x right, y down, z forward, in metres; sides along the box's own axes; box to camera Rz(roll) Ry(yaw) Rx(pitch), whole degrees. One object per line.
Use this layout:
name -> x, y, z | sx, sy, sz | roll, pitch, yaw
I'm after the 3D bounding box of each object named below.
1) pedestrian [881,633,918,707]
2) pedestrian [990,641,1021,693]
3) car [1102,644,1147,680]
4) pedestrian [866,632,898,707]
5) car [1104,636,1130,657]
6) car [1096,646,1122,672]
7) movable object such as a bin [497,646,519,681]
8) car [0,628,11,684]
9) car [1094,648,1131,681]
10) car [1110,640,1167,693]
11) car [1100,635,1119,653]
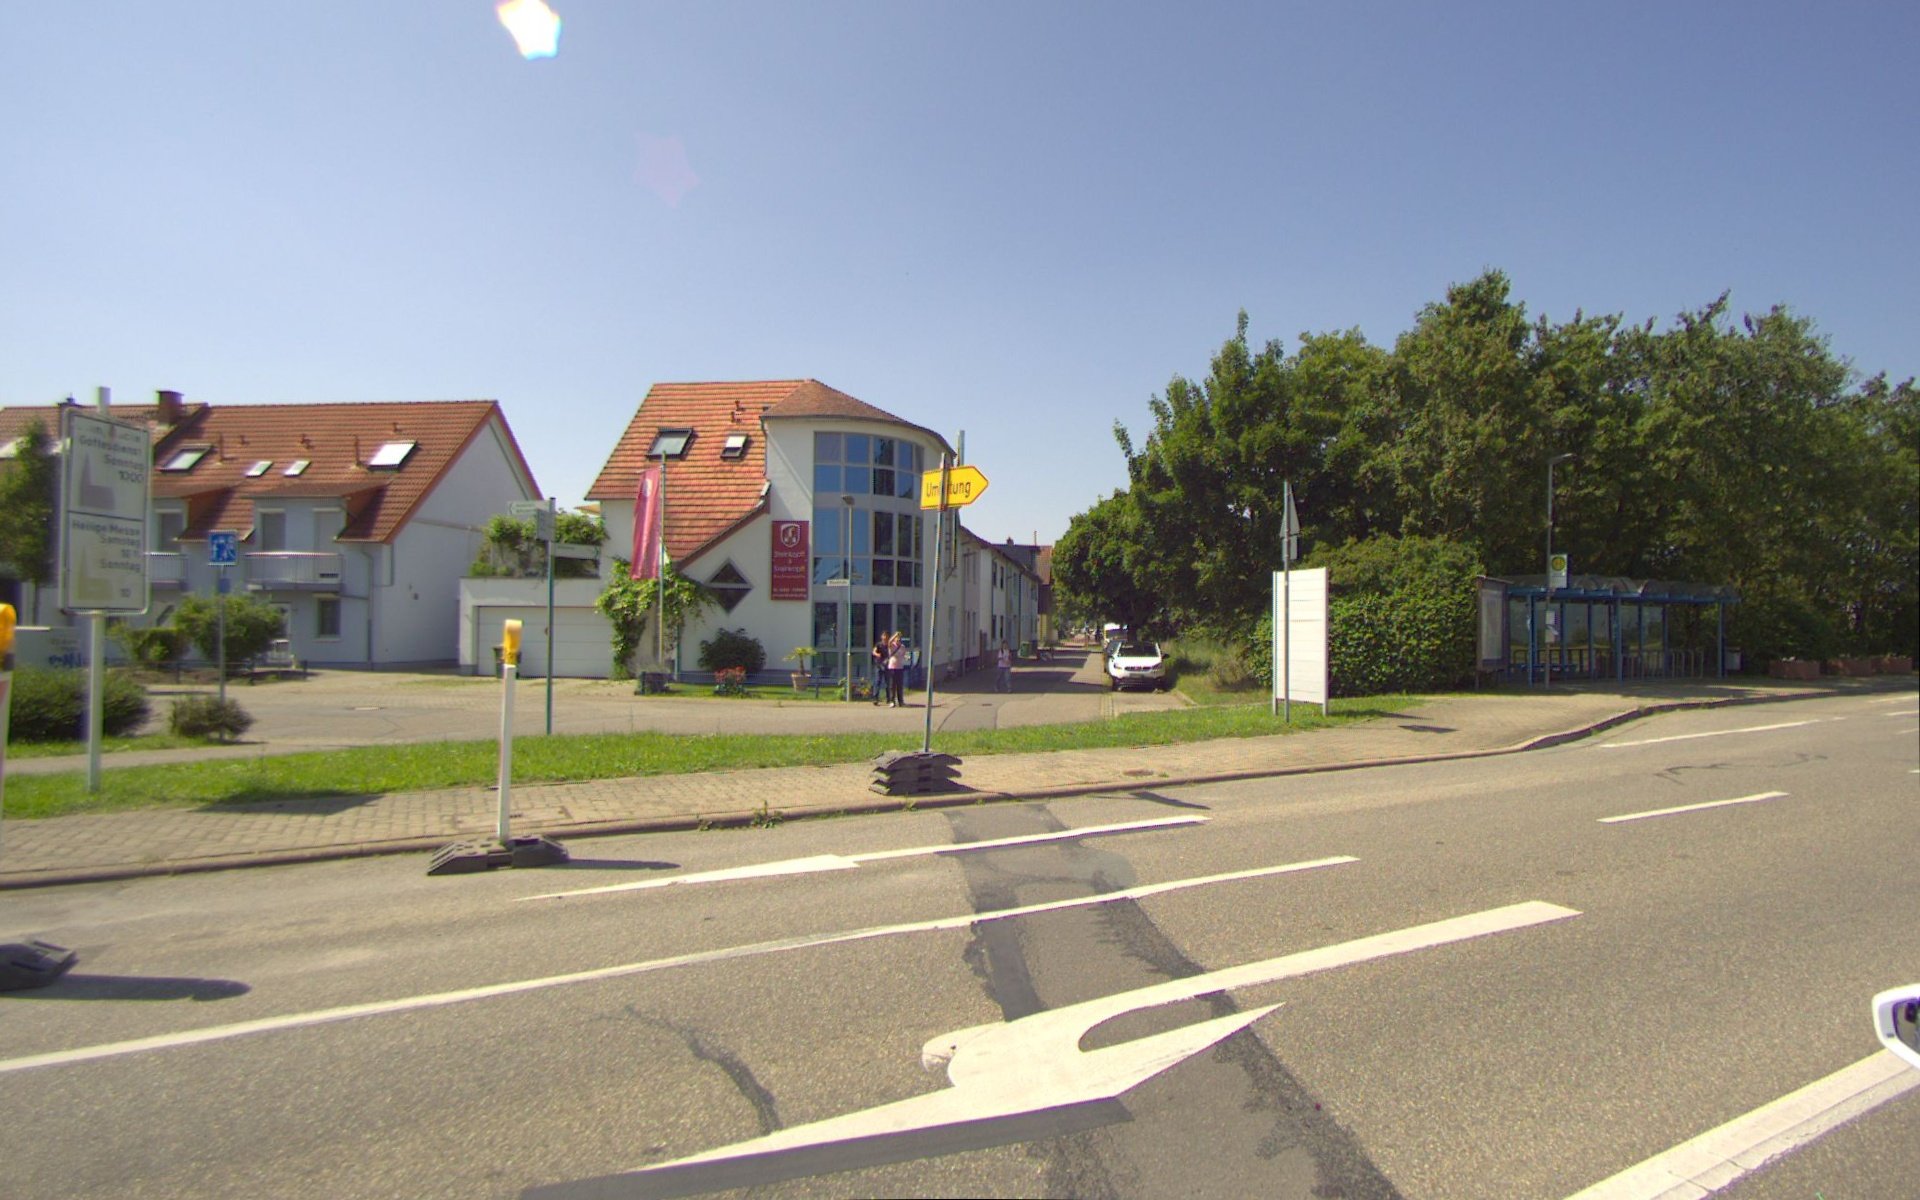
pedestrian -> -1.473, 1.699, 24.624 | 0.799, 1.763, 0.960 | 0, -1, 1
pedestrian -> 1.412, 2.076, 31.252 | 0.905, 1.587, 0.790 | 0, -1, -1
car -> 6.950, 2.566, 42.172 | 1.649, 1.366, 3.382 | 0, -1, 13
pedestrian -> -1.953, 1.731, 25.211 | 0.695, 1.846, 0.805 | 0, -1, 2
car -> 9.735, 2.860, 62.293 | 1.276, 1.259, 2.954 | 0, -2, 15
car -> 7.916, 3.118, 53.322 | 1.203, 1.244, 2.944 | 0, -1, 12
movable object such as a bin -> -14.308, 1.996, 31.783 | 0.558, 1.076, 0.396 | 1, -2, -36
car -> -26.040, 1.504, 25.373 | 1.779, 1.480, 3.976 | 1, 0, -24
car -> 6.384, 2.680, 41.922 | 1.423, 1.220, 3.561 | 0, -1, 9
car -> 6.036, 2.188, 33.859 | 1.769, 1.589, 3.584 | 0, -1, 11
car -> 13.586, 3.979, 91.219 | 1.659, 1.512, 3.503 | 0, -2, 9
